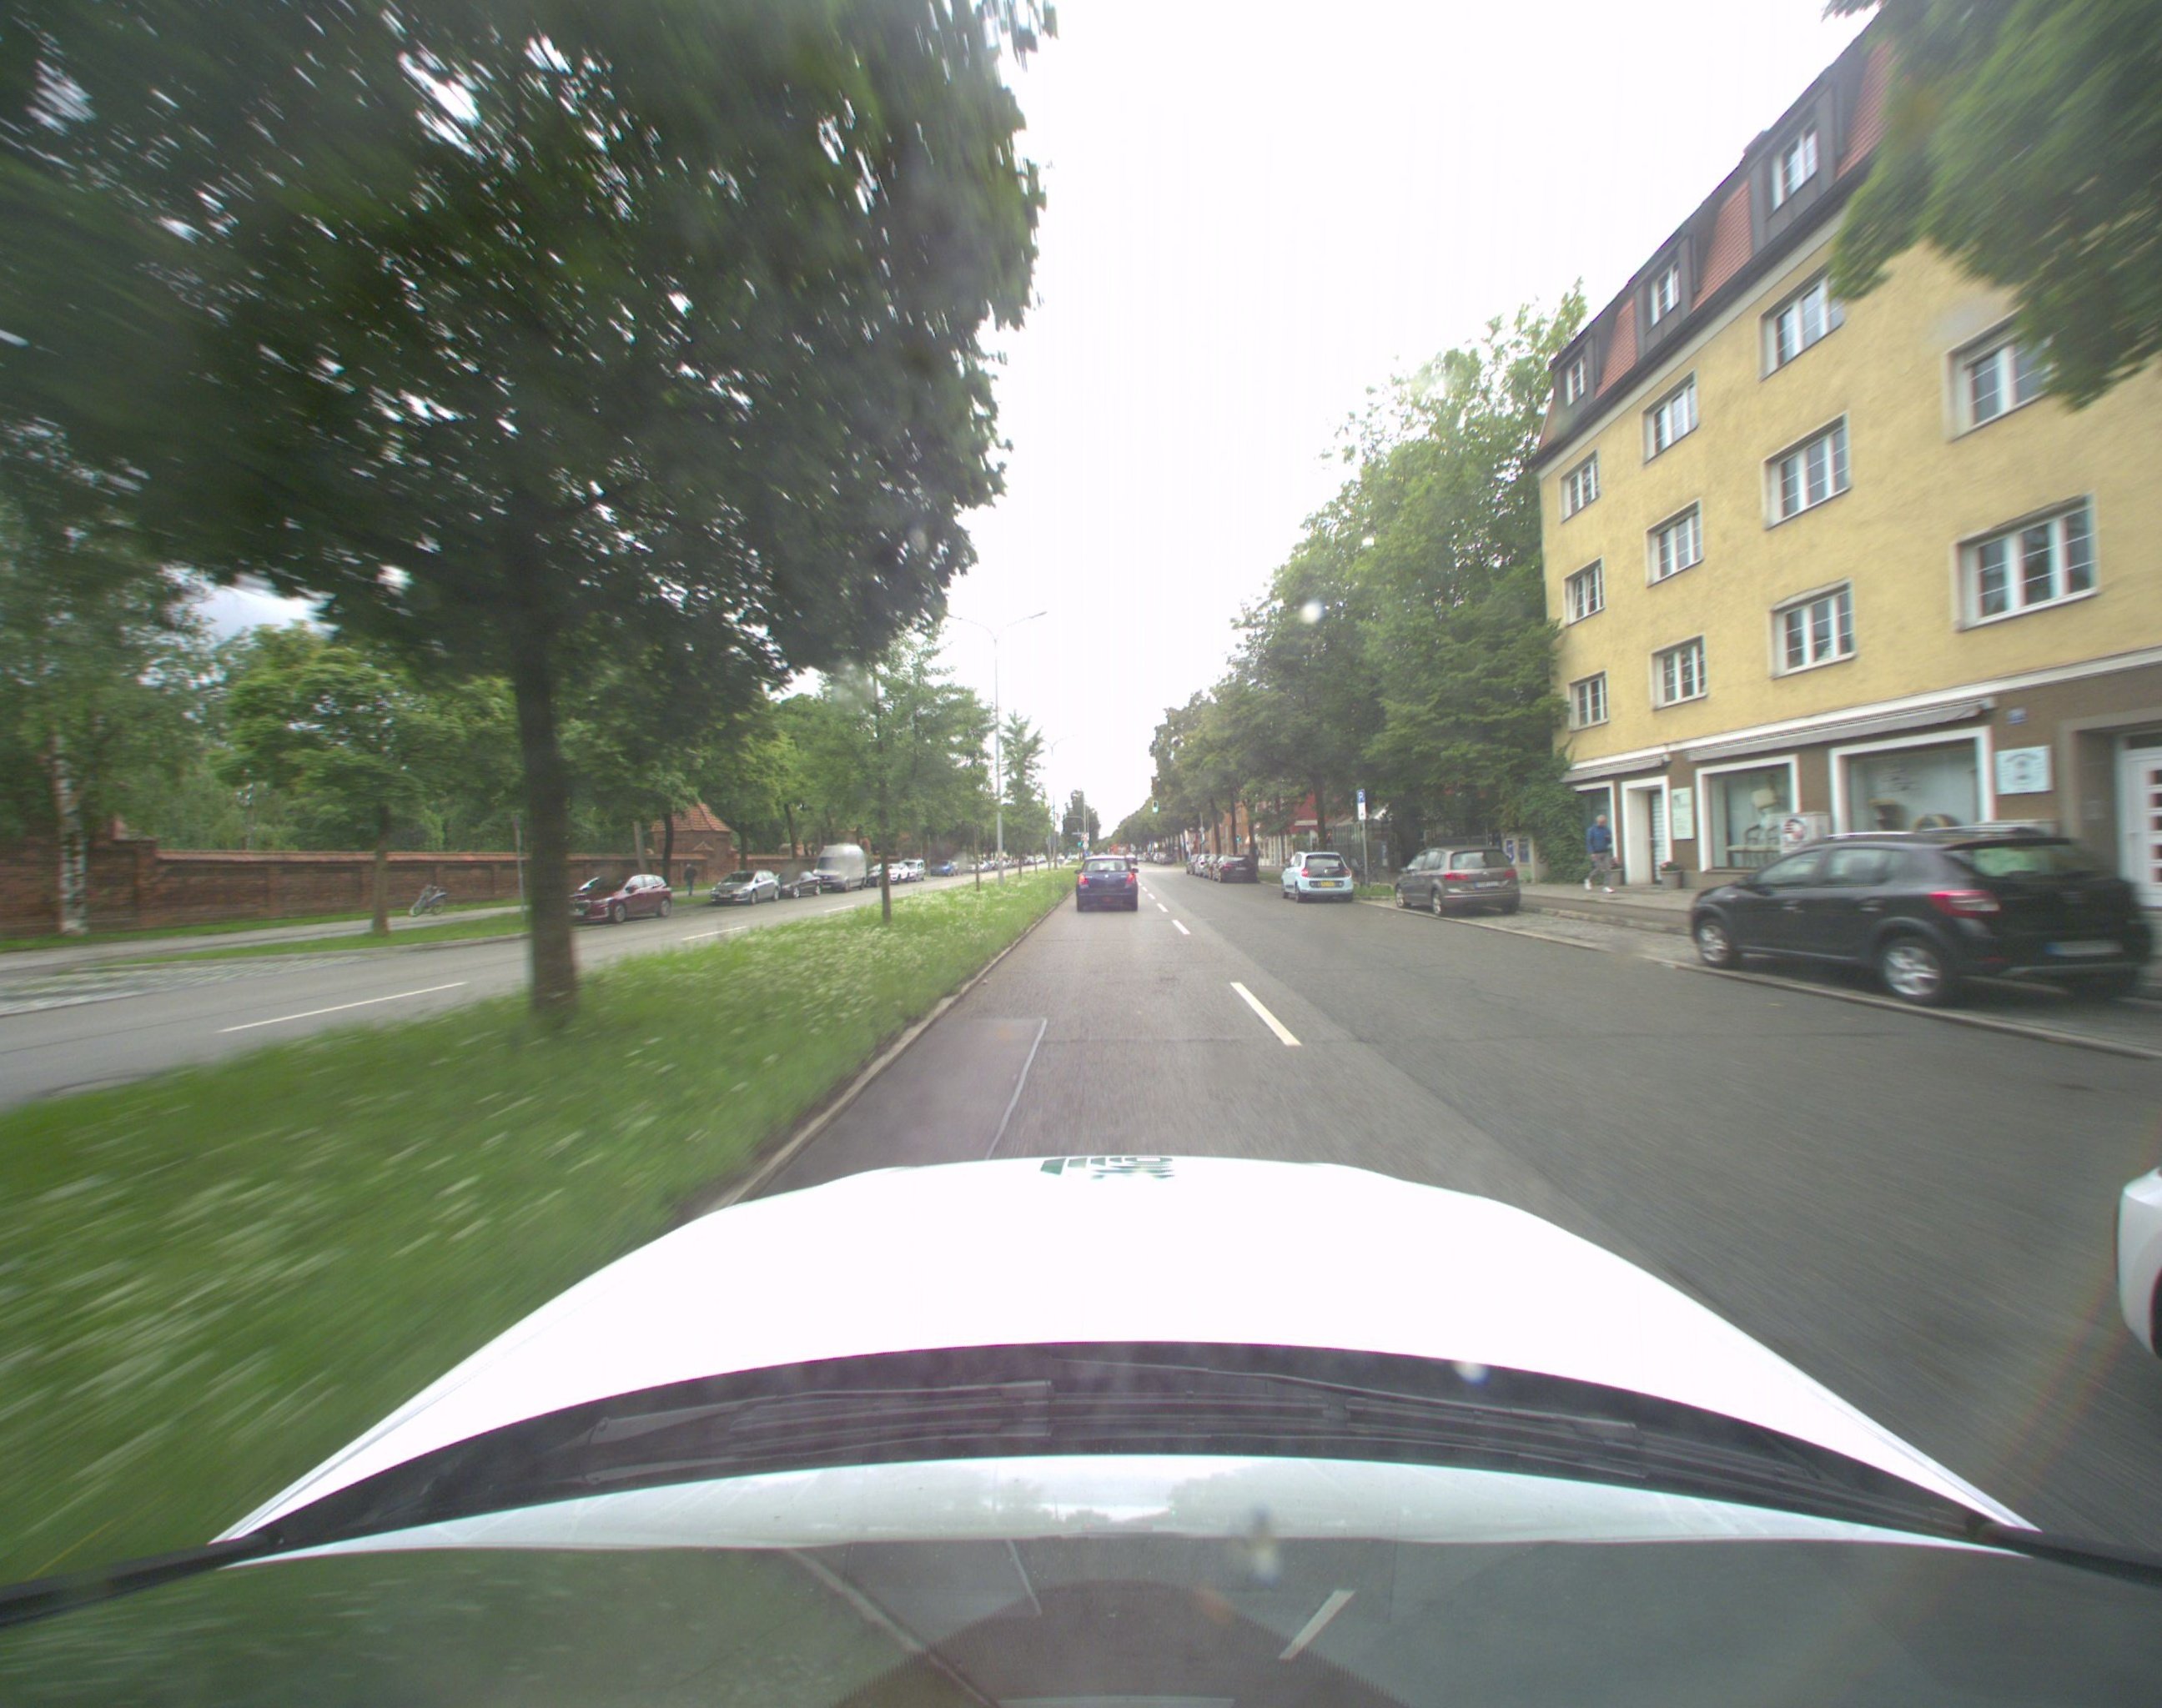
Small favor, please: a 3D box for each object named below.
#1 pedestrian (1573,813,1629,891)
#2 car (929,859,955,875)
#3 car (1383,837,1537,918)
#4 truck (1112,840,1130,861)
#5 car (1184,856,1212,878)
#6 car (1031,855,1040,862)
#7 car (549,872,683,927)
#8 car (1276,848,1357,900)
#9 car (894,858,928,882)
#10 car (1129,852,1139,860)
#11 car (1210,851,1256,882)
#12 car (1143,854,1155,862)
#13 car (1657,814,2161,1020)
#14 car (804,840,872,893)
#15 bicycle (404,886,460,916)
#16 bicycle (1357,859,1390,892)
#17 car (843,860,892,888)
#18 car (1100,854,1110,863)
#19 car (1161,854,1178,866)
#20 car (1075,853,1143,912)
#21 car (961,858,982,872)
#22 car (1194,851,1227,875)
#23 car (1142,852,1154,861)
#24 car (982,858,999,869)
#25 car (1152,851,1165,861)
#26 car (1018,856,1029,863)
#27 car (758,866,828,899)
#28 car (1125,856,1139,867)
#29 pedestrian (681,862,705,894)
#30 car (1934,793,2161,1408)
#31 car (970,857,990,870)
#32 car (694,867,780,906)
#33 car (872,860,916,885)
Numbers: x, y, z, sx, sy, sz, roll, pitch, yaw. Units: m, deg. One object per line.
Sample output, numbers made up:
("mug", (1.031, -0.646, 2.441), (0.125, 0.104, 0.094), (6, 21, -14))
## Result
("pedestrian", (12.880, -0.042, 20.189), (0.790, 1.855, 0.776), (-4, 0, -1))
("car", (-13.674, 1.269, 80.457), (1.700, 1.534, 4.002), (-2, 0, 2))
("car", (8.926, 0.498, 19.622), (1.808, 1.626, 4.311), (-3, 0, 3))
("truck", (7.232, -0.674, 146.168), (3.029, 3.557, 13.684), (-1, 0, 3))
("car", (8.406, 0.918, 58.773), (1.688, 1.452, 4.127), (-2, 0, 4))
("car", (-11.196, 1.138, 199.716), (1.795, 1.534, 4.002), (-2, 0, 2))
("car", (-15.079, 1.408, 26.701), (1.807, 1.536, 4.299), (-1, 0, 1))
("car", (7.356, 0.565, 25.823), (1.646, 1.452, 4.005), (-3, 0, 5))
("car", (-13.813, 1.273, 66.285), (1.700, 1.734, 4.002), (-2, 0, 2))
("car", (11.237, 0.381, 172.253), (1.986, 1.530, 4.002), (-2, 0, 2))
("car", (7.860, 0.594, 42.459), (1.647, 1.452, 4.712), (-3, 0, 3))
("car", (12.844, 0.751, 154.351), (1.986, 1.530, 4.002), (-1, 0, 2))
("car", (8.697, 0.497, 8.790), (1.986, 1.643, 4.335), (-2, 0, 2))
("car", (-14.467, 0.711, 48.959), (2.179, 2.953, 6.190), (-1, 0, 0))
("bicycle", (-22.530, 1.613, 28.304), (0.653, 0.936, 1.619), (-2, 0, 0))
("bicycle", (9.302, 0.660, 25.933), (0.446, 0.980, 1.799), (-2, 0, 2))
("car", (-14.542, 1.337, 55.717), (2.179, 1.736, 4.577), (-1, 0, 0))
("car", (4.460, 0.792, 150.658), (1.712, 1.500, 4.302), (-1, 0, 2))
("car", (11.780, 0.756, 108.376), (1.986, 1.530, 4.002), (-2, 0, 2))
("car", (0.832, 0.738, 23.363), (1.745, 1.505, 4.003), (-2, 0, 3))
("car", (-13.066, 1.326, 97.411), (1.795, 1.534, 4.002), (-2, 0, 2))
("car", (8.356, 0.560, 52.656), (1.688, 1.452, 4.127), (-2, 0, 4))
("car", (12.253, 0.521, 149.075), (1.986, 1.530, 4.002), (-2, 0, 2))
("car", (-12.626, 1.340, 114.232), (1.795, 1.534, 4.002), (-1, 0, 2))
("car", (13.015, 0.381, 137.280), (1.986, 1.530, 4.002), (-2, 0, 2))
("car", (-11.876, 1.117, 167.920), (1.795, 1.534, 4.002), (-2, 0, 2))
("car", (-14.811, 1.418, 42.146), (1.807, 1.536, 4.821), (-1, 0, 1))
("car", (7.125, 1.040, 113.778), (1.814, 1.477, 4.693), (0, 0, 2))
("pedestrian", (-19.361, 1.190, 40.607), (0.766, 1.567, 0.800), (-2, 0, 38))
("car", (3.429, 0.593, 0.774), (1.680, 1.490, 3.435), (0, 0, 1))
("car", (-12.635, 1.197, 101.804), (1.795, 1.534, 4.002), (-2, 0, 2))
("car", (-15.100, 1.389, 36.046), (1.807, 1.536, 4.442), (-1, 0, 1))
("car", (-13.955, 1.362, 61.065), (2.179, 1.736, 4.577), (-1, 0, 0))
